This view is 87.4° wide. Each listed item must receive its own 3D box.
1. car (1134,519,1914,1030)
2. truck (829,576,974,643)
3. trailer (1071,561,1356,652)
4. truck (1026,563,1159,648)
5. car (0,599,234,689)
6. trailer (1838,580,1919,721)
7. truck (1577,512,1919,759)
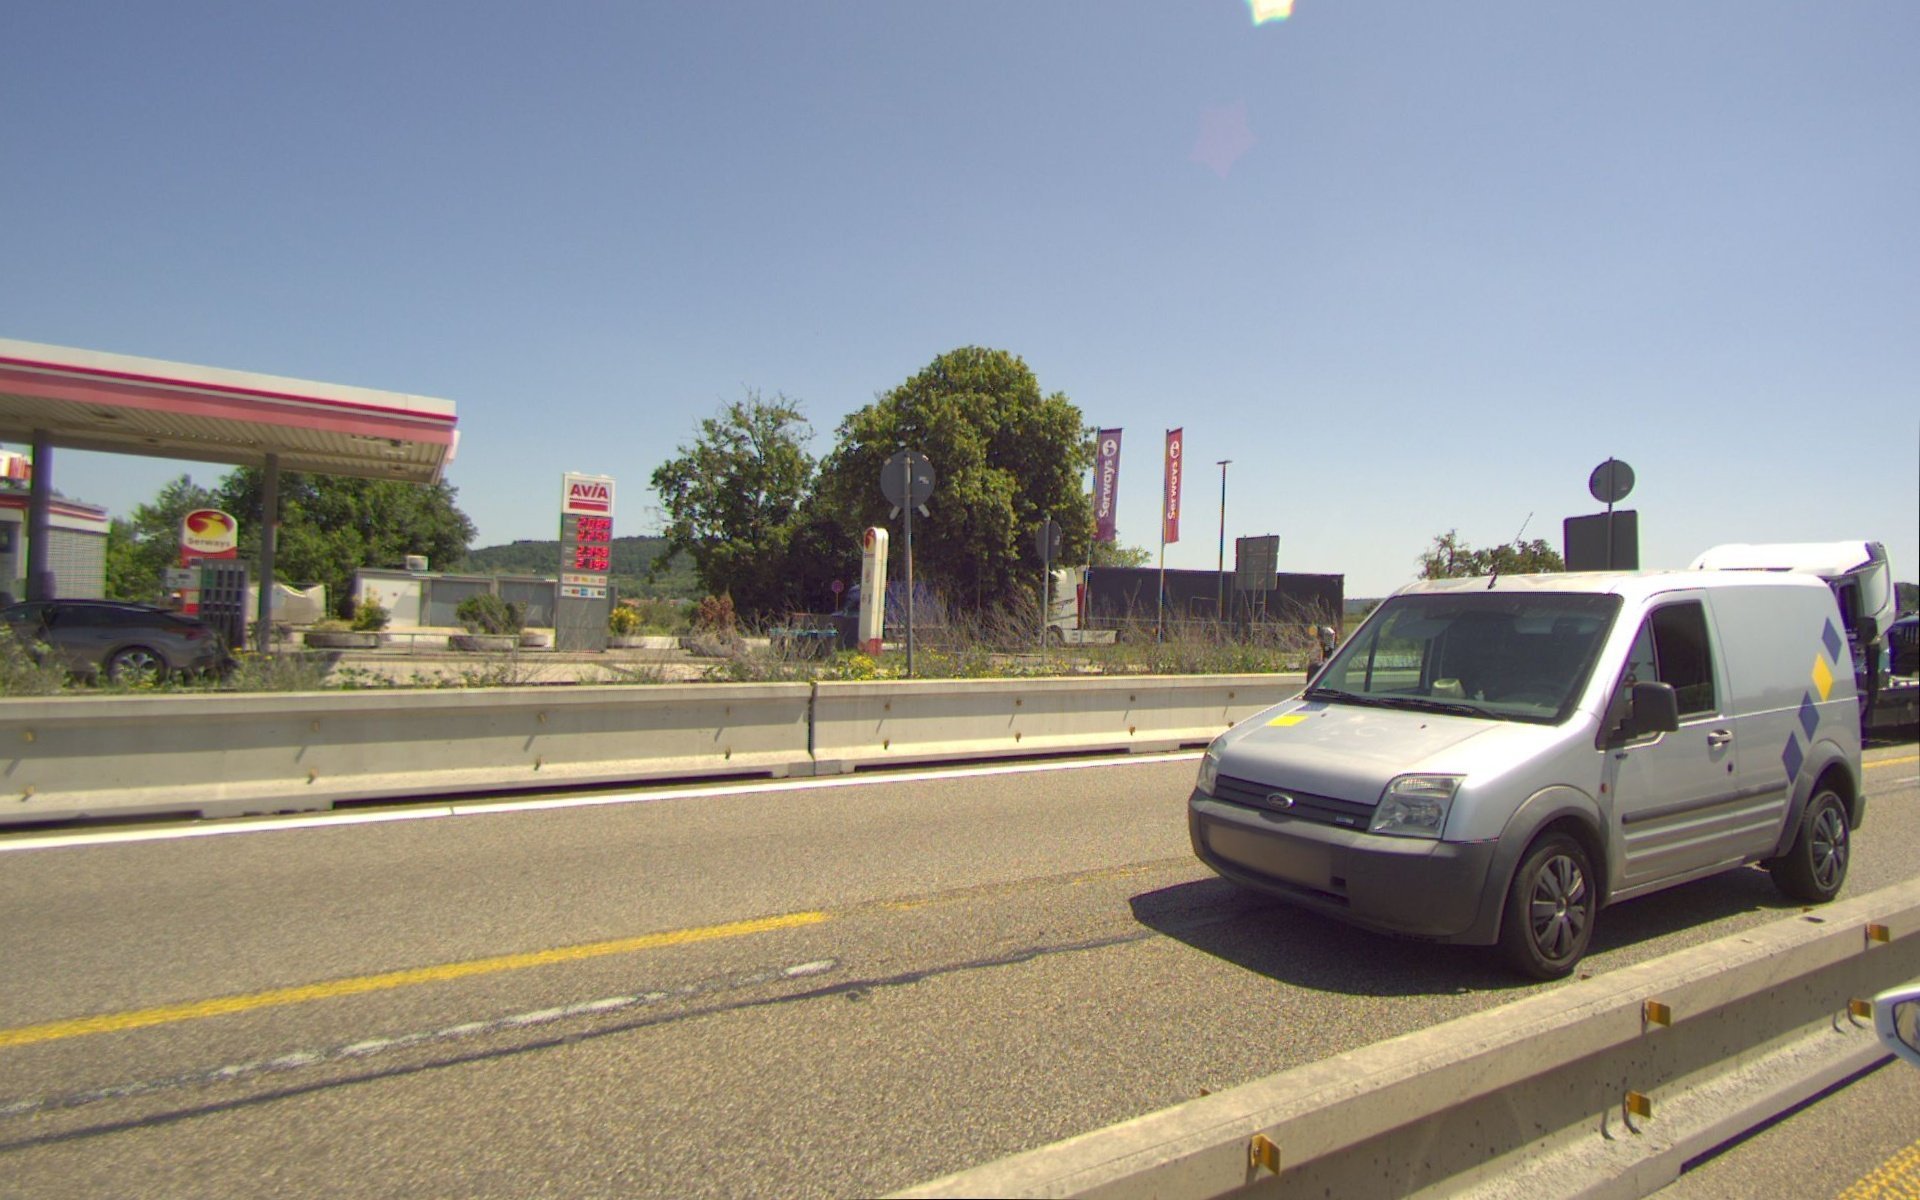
[{"bbox_3d":[3.320,0.657,5.647,4.538,1.864,1.844,1,0,-31],"label":"car"},{"bbox_3d":[-2.988,0.495,50.281,6.992,3.104,2.824,2,-1,-9],"label":"truck"},{"bbox_3d":[12.877,0.373,51.677,13.891,4.166,3.159,2,-1,-4],"label":"trailer"},{"bbox_3d":[6.671,0.299,51.257,6.225,4.038,3.159,2,-1,-3],"label":"truck"},{"bbox_3d":[-15.150,0.753,17.120,4.264,1.430,1.743,2,-3,-30],"label":"car"},{"bbox_3d":[18.418,0.895,18.204,5.549,2.345,2.171,1,0,-31],"label":"trailer"},{"bbox_3d":[12.550,0.509,14.777,8.034,2.861,2.468,2,-1,-31],"label":"truck"}]
